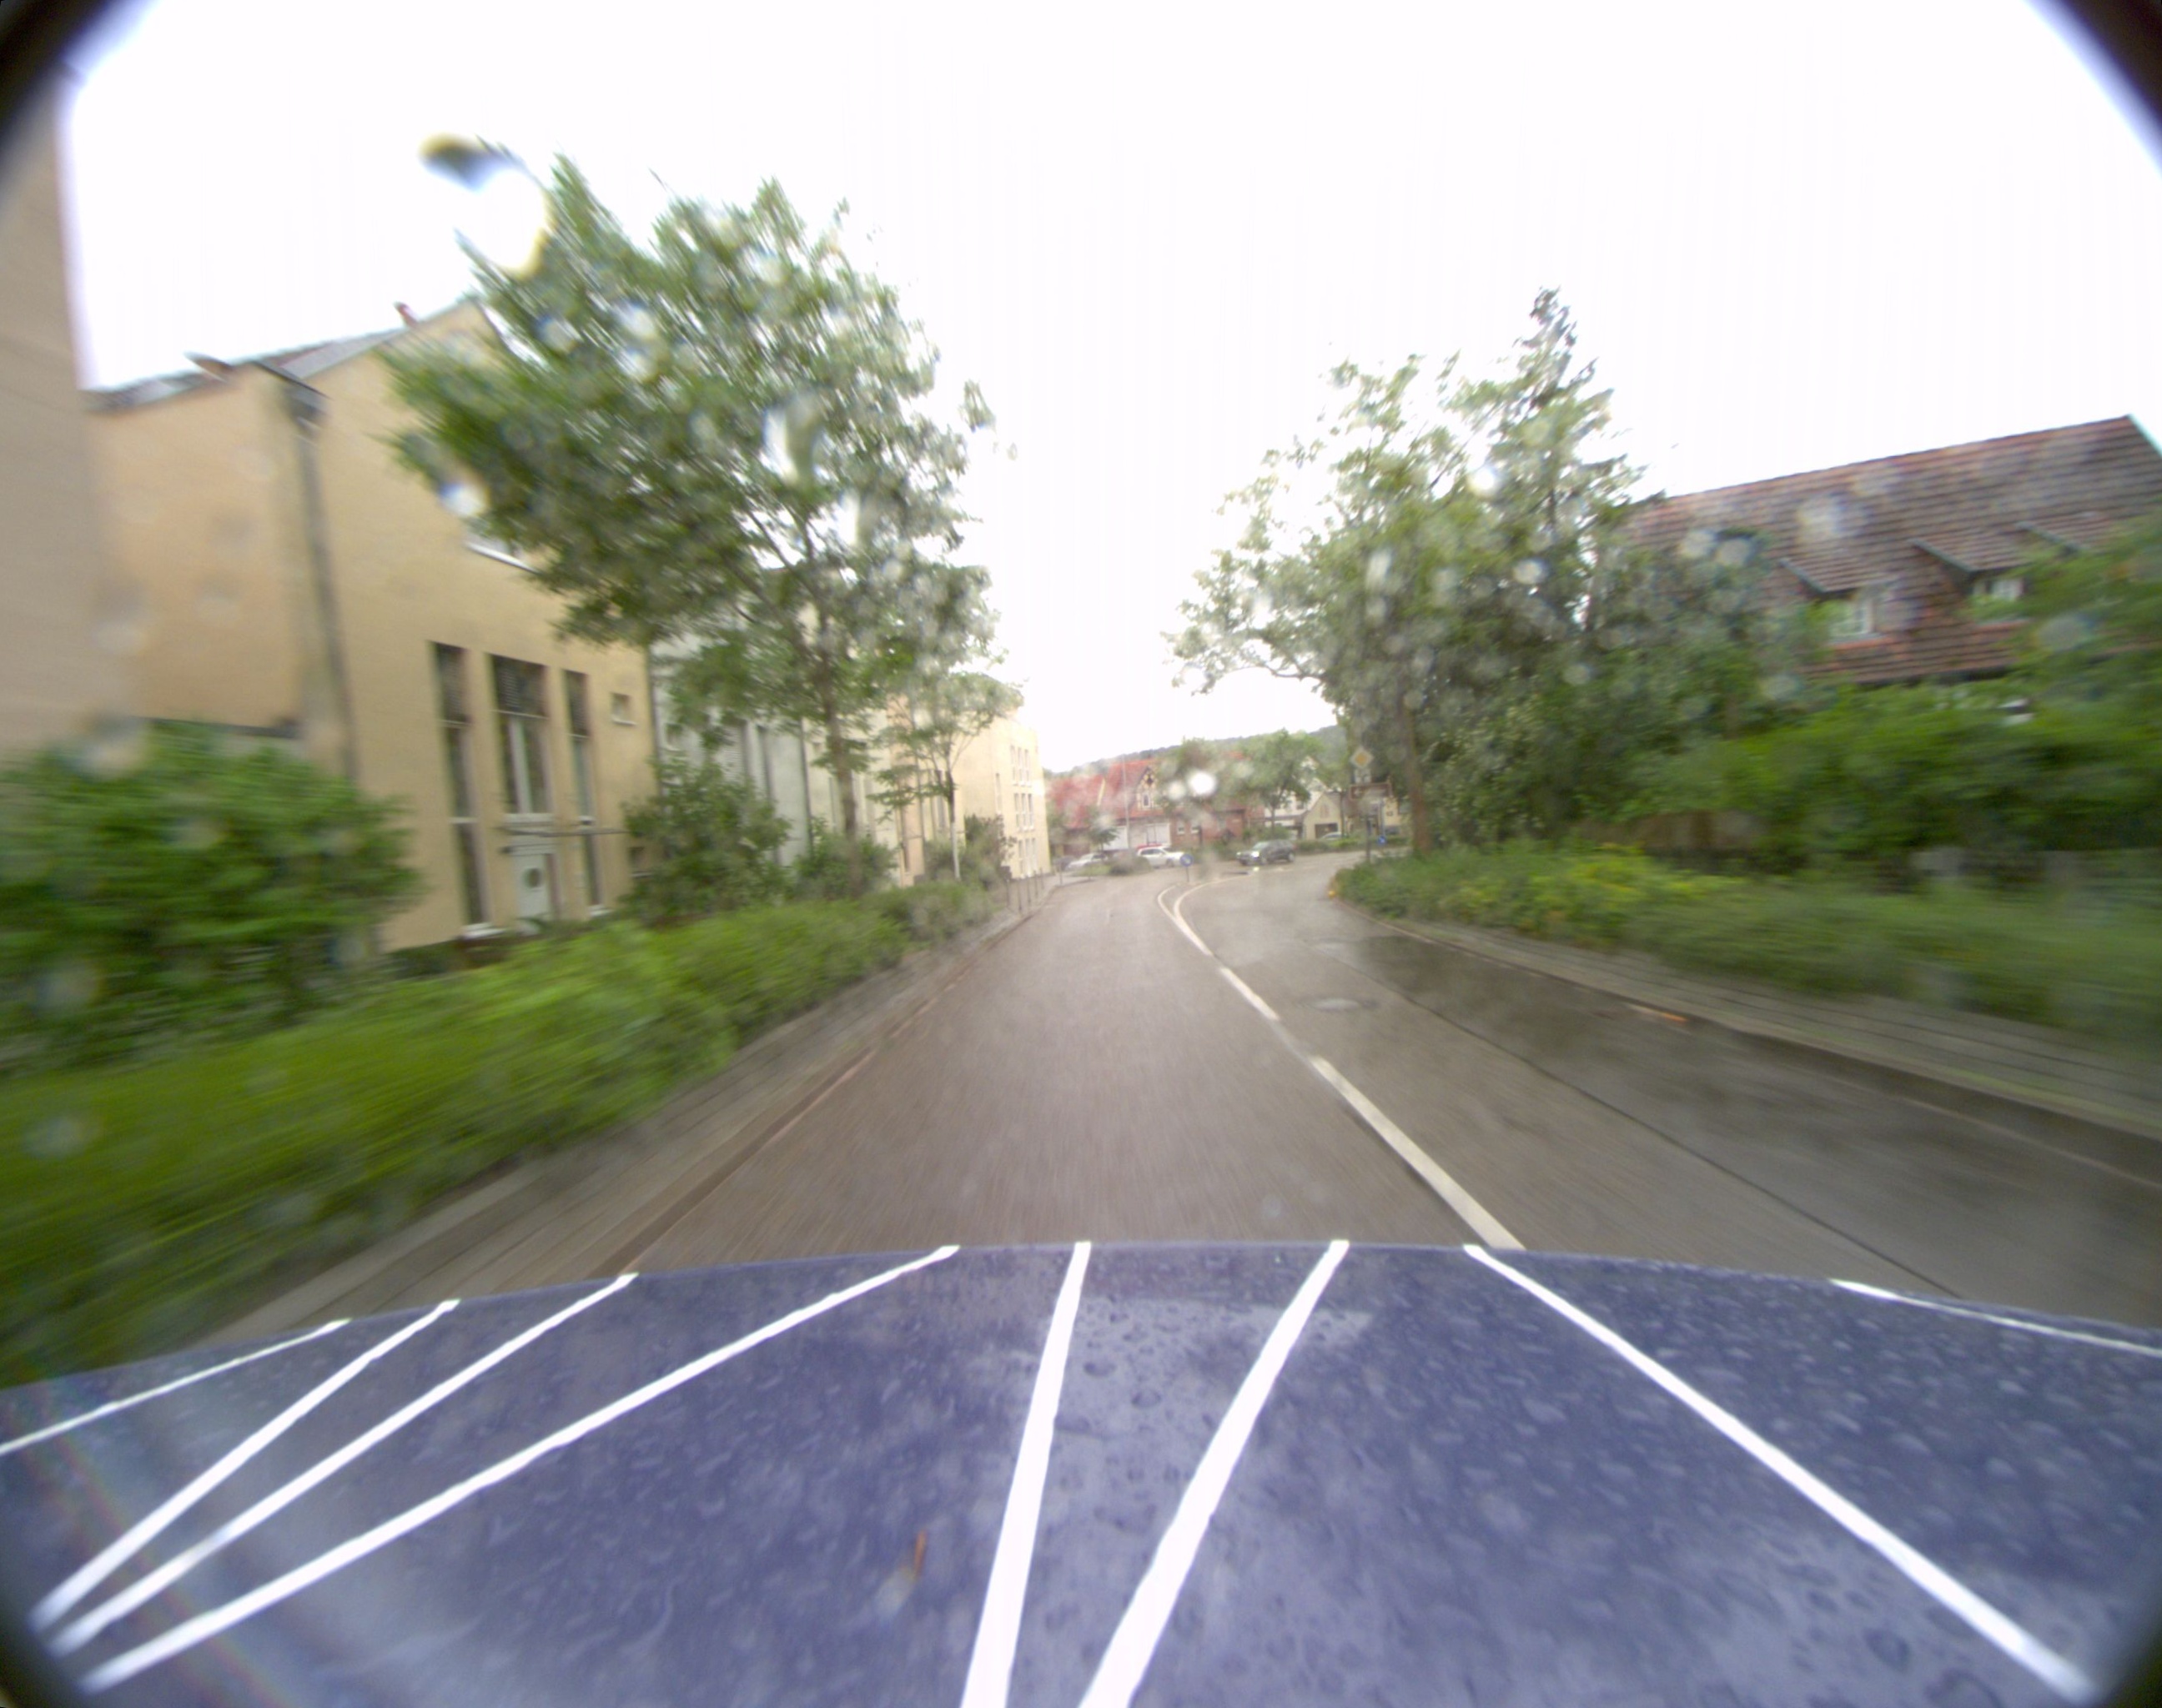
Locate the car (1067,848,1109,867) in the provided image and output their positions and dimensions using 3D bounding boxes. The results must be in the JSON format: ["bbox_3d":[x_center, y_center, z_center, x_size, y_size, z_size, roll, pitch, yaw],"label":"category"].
[{"bbox_3d":[0.705,0.285,69.917,1.619,1.382,4.006,-3,2,39],"label":"car"}]

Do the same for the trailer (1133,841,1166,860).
[{"bbox_3d":[6.631,-0.380,73.793,2.718,1.640,1.414,-3,1,31],"label":"trailer"}]

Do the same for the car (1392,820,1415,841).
[{"bbox_3d":[27.280,-2.007,64.329,1.715,1.521,3.435,-4,2,22],"label":"car"}]

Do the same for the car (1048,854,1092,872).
[{"bbox_3d":[-1.028,0.849,72.012,1.875,1.368,4.007,-3,1,40],"label":"car"}]

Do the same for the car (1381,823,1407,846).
[{"bbox_3d":[26.740,-1.714,65.057,1.745,1.574,4.002,-5,4,20],"label":"car"}]

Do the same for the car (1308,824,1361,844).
[{"bbox_3d":[22.690,-1.783,68.050,4.255,1.431,1.910,-3,4,26],"label":"car"}]

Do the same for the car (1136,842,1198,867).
[{"bbox_3d":[5.959,0.071,53.293,1.760,1.527,4.139,-6,2,-40],"label":"car"}]

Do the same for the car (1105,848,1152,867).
[{"bbox_3d":[4.233,0.297,67.220,3.738,1.382,1.620,-5,2,-29],"label":"car"}]

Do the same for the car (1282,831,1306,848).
[{"bbox_3d":[21.542,-1.484,76.618,1.598,1.488,4.005,-4,1,25],"label":"car"}]

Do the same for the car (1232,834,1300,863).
[{"bbox_3d":[11.924,-0.360,48.935,4.005,1.521,1.995,-5,2,-32],"label":"car"}]
